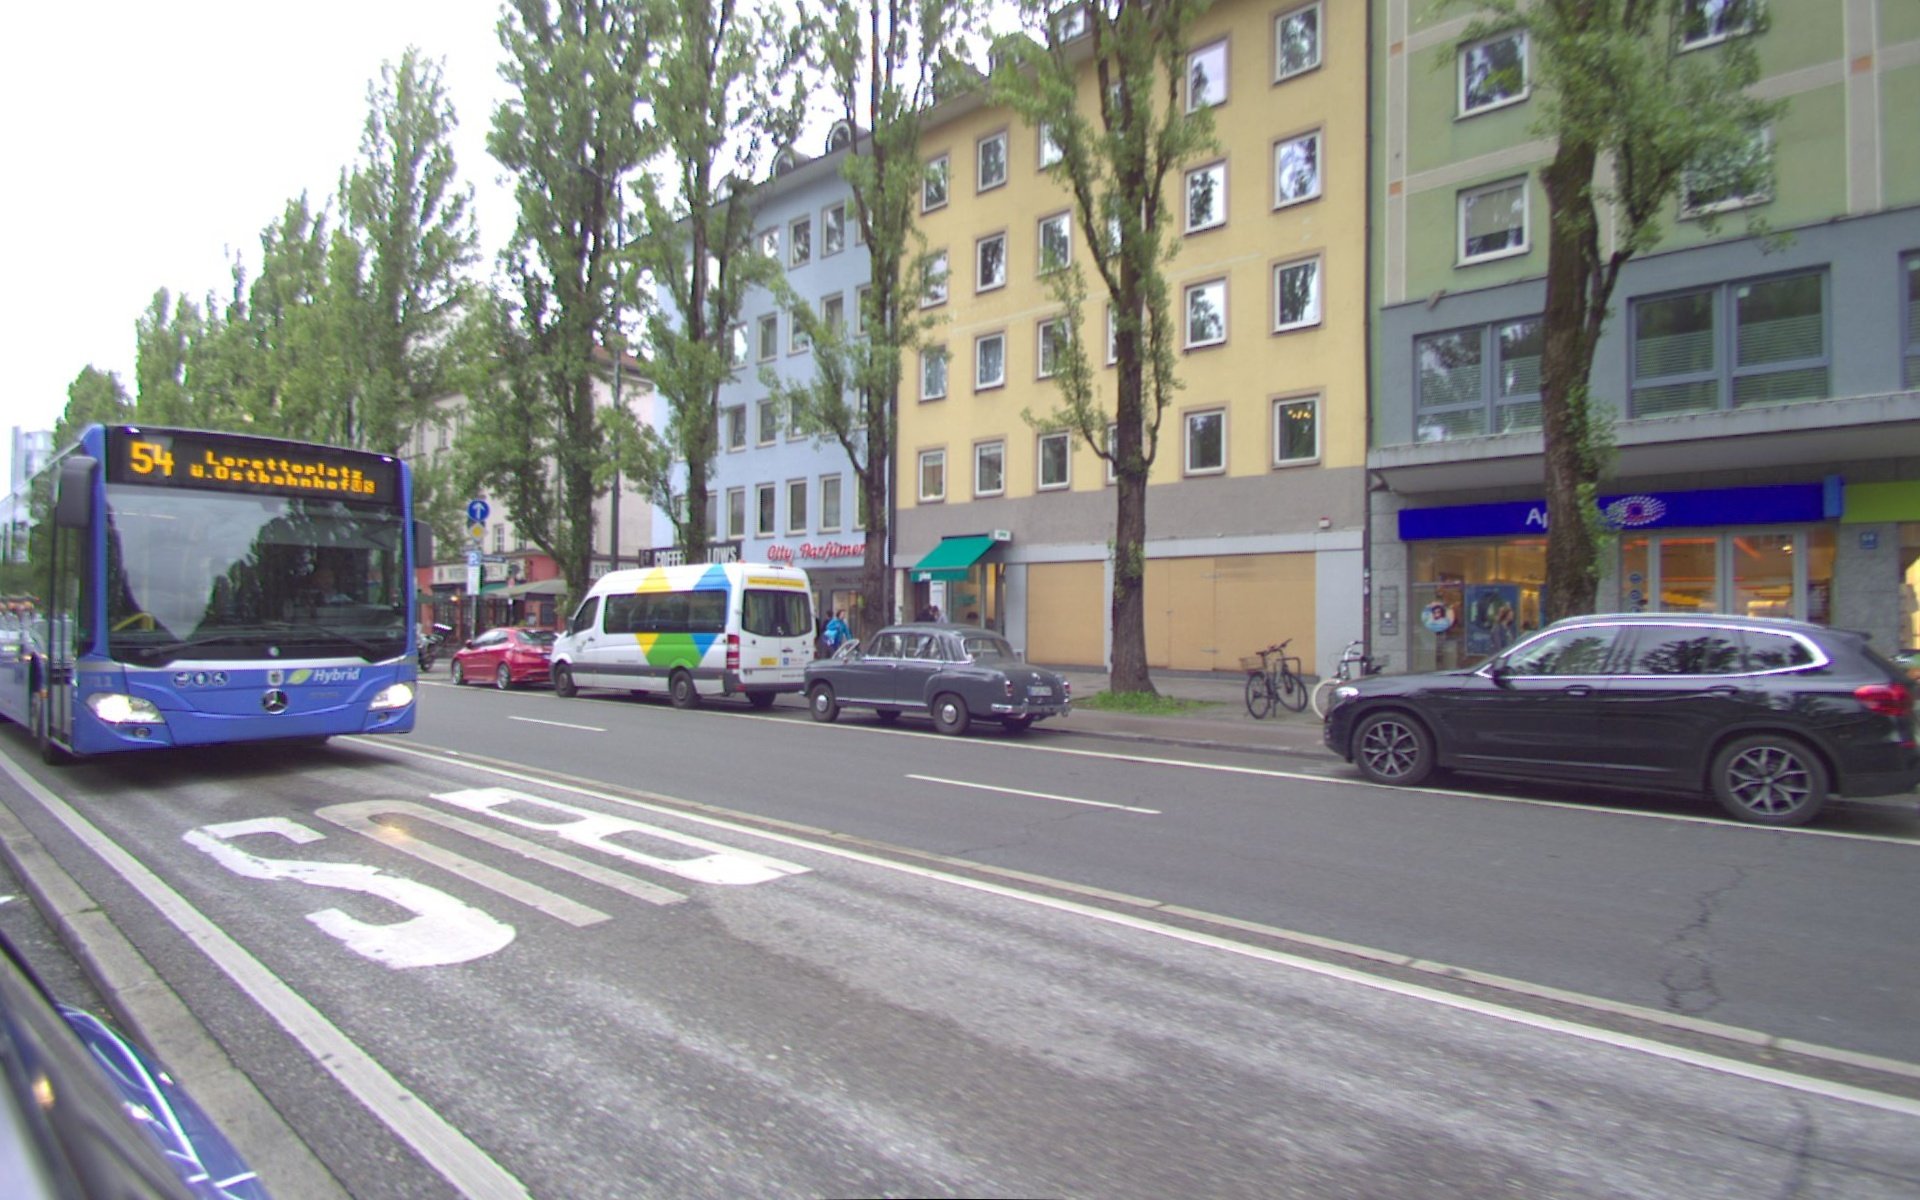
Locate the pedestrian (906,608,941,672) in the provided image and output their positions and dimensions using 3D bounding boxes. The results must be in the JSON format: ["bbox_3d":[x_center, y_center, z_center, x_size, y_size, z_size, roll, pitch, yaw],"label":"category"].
[{"bbox_3d":[-0.958,1.049,26.456,0.688,1.648,0.729,1,-2,-24],"label":"pedestrian"}]

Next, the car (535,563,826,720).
[{"bbox_3d":[-5.657,0.783,19.734,6.909,2.587,1.984,-1,-4,42],"label":"car"}]

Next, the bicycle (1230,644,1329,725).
[{"bbox_3d":[5.055,1.292,15.964,0.719,1.103,1.848,-2,0,44],"label":"bicycle"}]

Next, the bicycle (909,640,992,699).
[{"bbox_3d":[-0.185,1.439,21.418,0.622,1.103,1.848,-2,0,44],"label":"bicycle"}]

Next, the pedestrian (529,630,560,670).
[{"bbox_3d":[-14.542,1.739,35.419,0.819,1.373,0.690,-2,-3,44],"label":"pedestrian"}]

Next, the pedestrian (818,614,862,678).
[{"bbox_3d":[-3.218,1.229,27.172,0.936,1.659,0.700,2,-3,-45],"label":"pedestrian"}]

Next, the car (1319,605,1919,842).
[{"bbox_3d":[5.909,0.956,9.273,4.609,1.677,1.846,-1,-4,42],"label":"car"}]

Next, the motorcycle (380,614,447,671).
[{"bbox_3d":[-15.598,1.182,28.968,0.704,1.575,2.348,-1,-1,-1],"label":"motorcycle"}]

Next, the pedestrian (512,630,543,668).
[{"bbox_3d":[-15.607,1.760,36.494,0.951,1.373,0.690,-2,-3,44],"label":"pedestrian"}]

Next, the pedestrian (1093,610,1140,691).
[{"bbox_3d":[3.377,1.079,21.850,0.675,1.698,0.748,0,-2,42],"label":"pedestrian"}]

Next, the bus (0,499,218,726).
[{"bbox_3d":[-15.701,0.268,17.362,10.047,2.972,2.655,-1,-2,41],"label":"bus"}]

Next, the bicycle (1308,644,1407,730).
[{"bbox_3d":[5.984,1.268,15.178,0.719,1.103,1.848,-2,0,44],"label":"bicycle"}]

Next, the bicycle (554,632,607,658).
[{"bbox_3d":[-17.651,2.084,47.140,0.645,1.214,2.316,-1,-2,39],"label":"bicycle"}]

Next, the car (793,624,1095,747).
[{"bbox_3d":[-0.350,1.173,15.109,4.412,1.564,1.846,-1,-4,42],"label":"car"}]

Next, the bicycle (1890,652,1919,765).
[{"bbox_3d":[10.840,1.186,11.060,0.717,1.103,1.929,-2,0,35],"label":"bicycle"}]

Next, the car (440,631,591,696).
[{"bbox_3d":[-10.724,1.480,24.284,4.146,1.430,1.719,-1,-4,42],"label":"car"}]

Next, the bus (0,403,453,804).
[{"bbox_3d":[-9.422,0.126,11.828,10.047,2.972,2.661,-1,-2,41],"label":"bus"}]

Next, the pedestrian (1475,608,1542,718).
[{"bbox_3d":[8.792,0.987,16.224,0.785,1.698,0.748,0,-2,43],"label":"pedestrian"}]
